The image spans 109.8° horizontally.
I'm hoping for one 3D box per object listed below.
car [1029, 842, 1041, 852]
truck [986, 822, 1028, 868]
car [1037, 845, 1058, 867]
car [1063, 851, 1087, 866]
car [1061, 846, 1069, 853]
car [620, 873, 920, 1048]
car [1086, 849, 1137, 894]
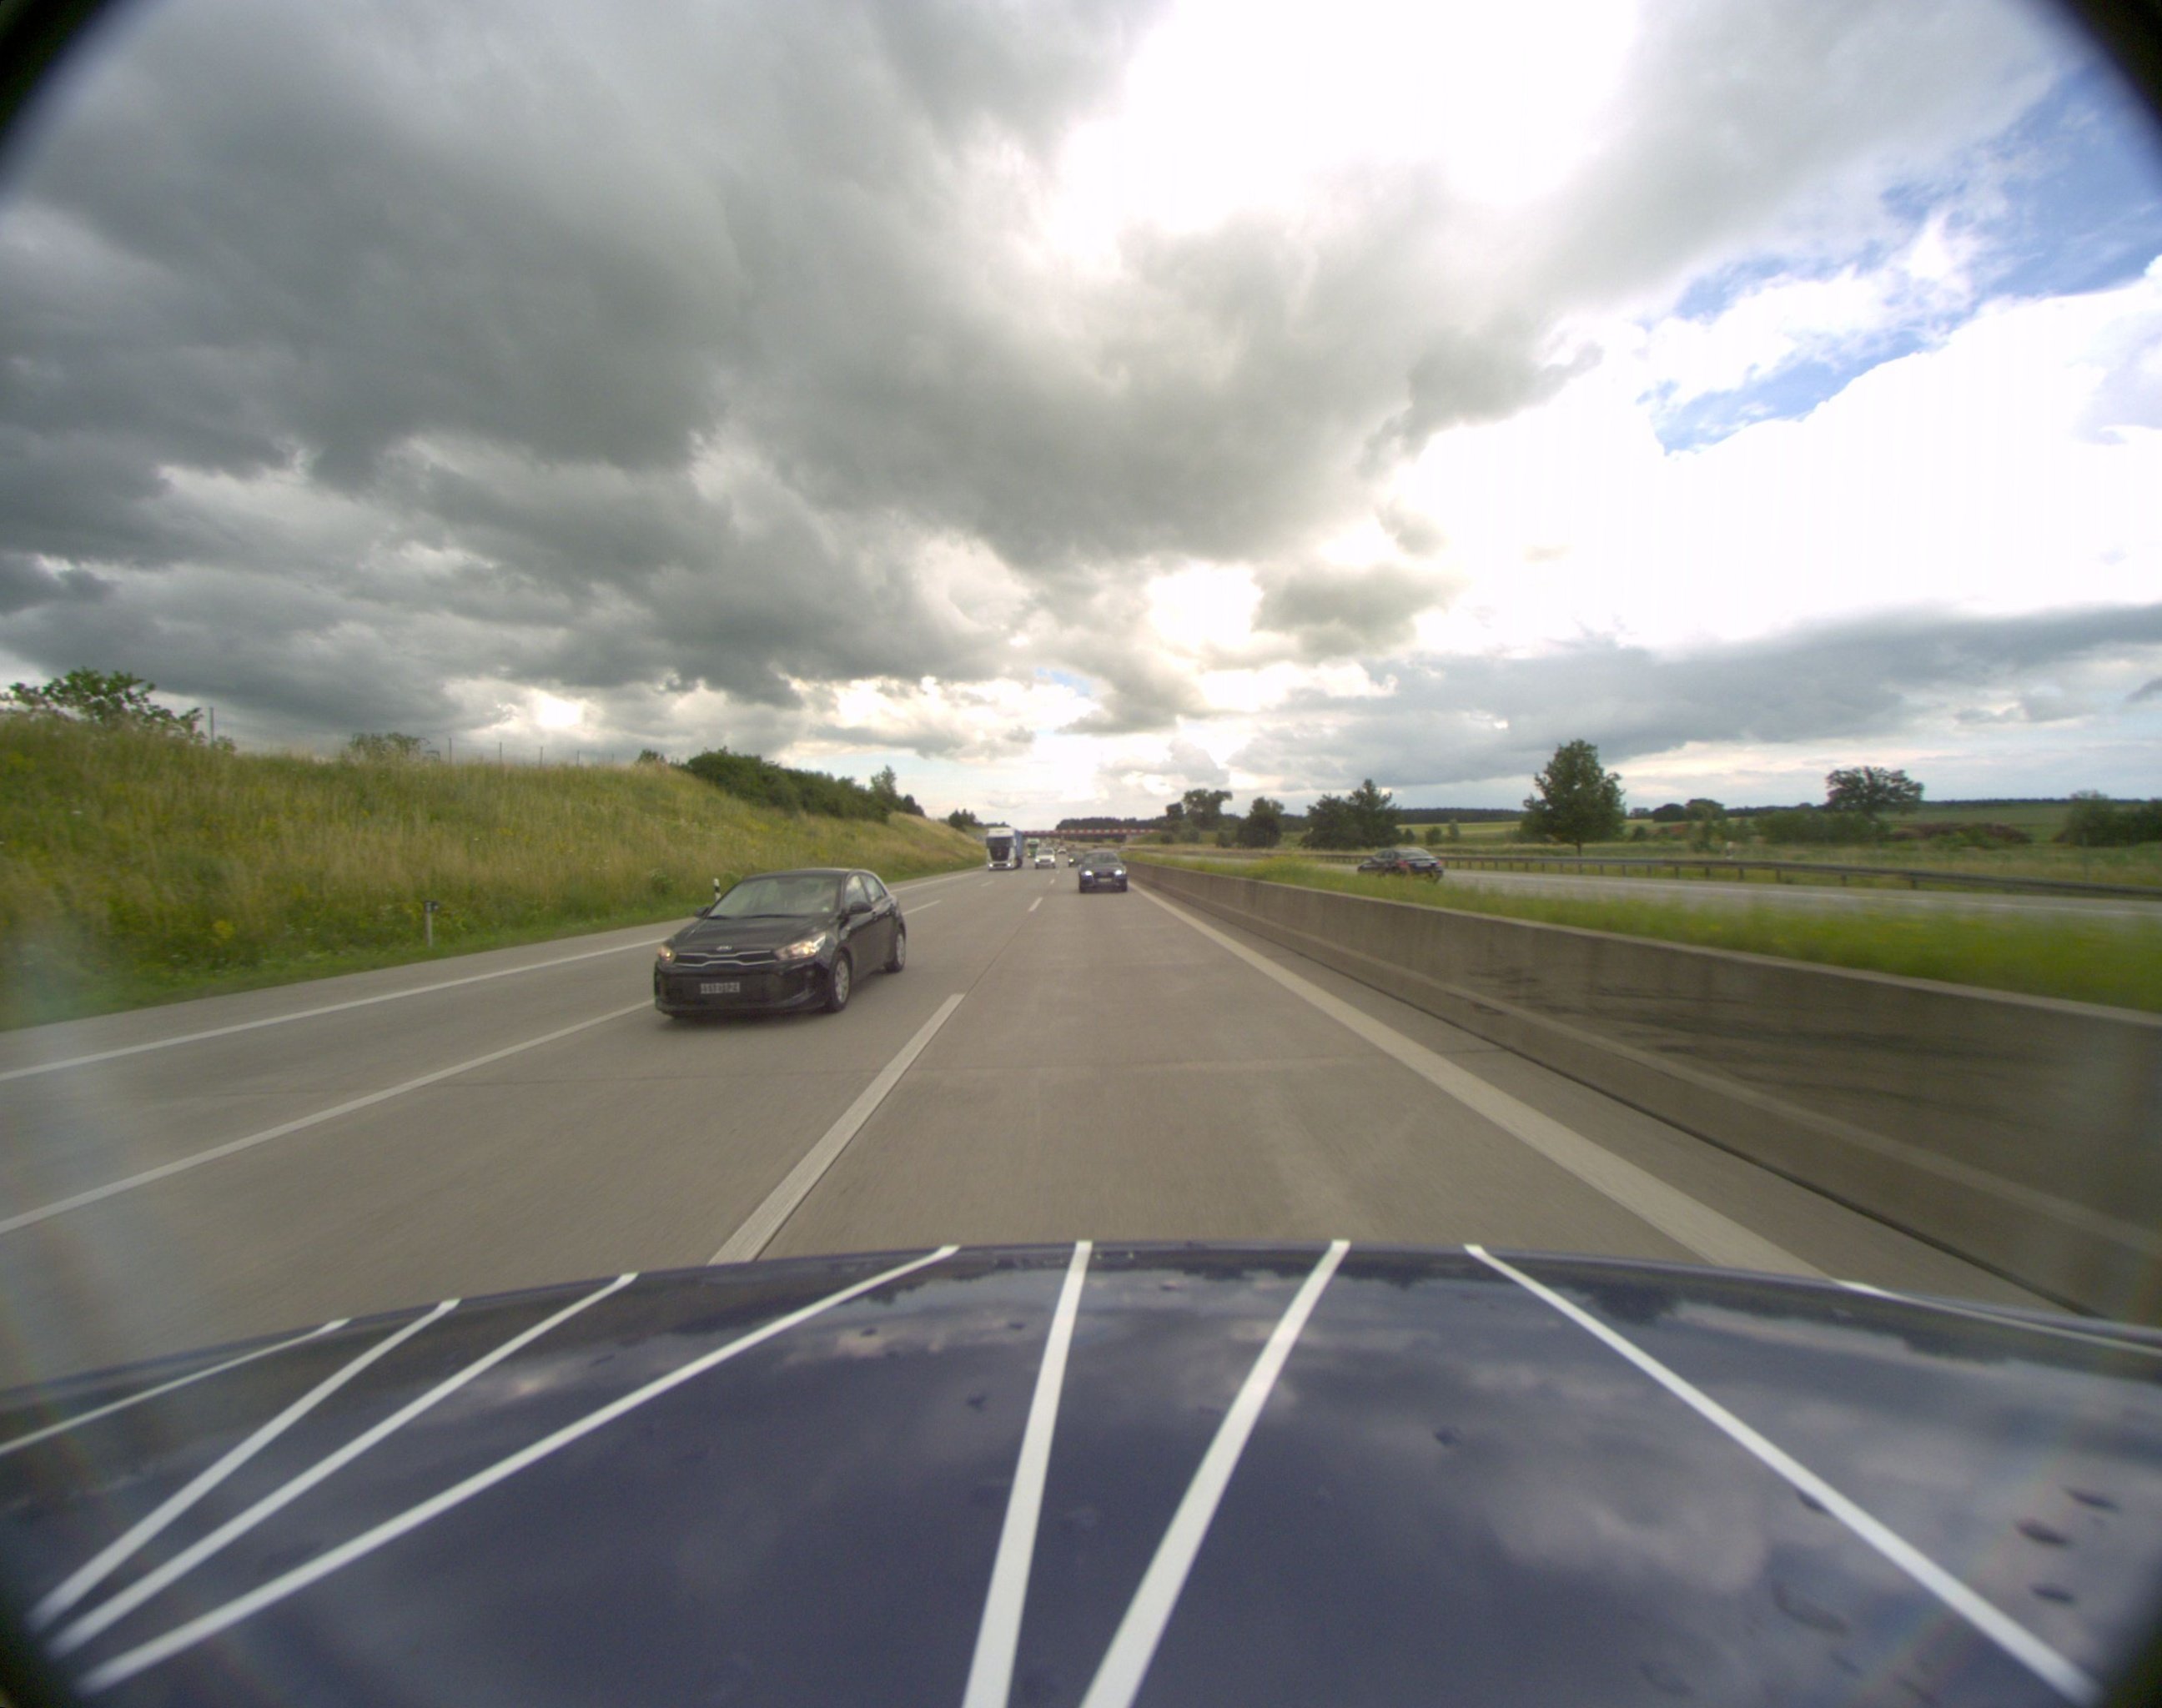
[{"bbox_3d":[-10.138,-1.565,167.872,2.358,2.002,4.811,-2,1,-1],"label":"car"},{"bbox_3d":[-7.199,-0.796,75.386,2.854,4.176,10.710,-2,0,1],"label":"truck"},{"bbox_3d":[-3.241,0.225,73.735,1.999,2.002,3.999,-2,0,-3],"label":"car"},{"bbox_3d":[-0.598,0.424,77.396,1.939,1.464,4.002,-2,0,6],"label":"car"},{"bbox_3d":[-4.362,-1.197,206.695,1.999,2.002,3.999,-1,1,0],"label":"car"},{"bbox_3d":[-3.242,1.016,8.868,1.690,1.405,4.000,-2,1,2],"label":"car"},{"bbox_3d":[1.300,0.621,30.357,1.796,1.586,5.158,-2,0,5],"label":"car"}]
